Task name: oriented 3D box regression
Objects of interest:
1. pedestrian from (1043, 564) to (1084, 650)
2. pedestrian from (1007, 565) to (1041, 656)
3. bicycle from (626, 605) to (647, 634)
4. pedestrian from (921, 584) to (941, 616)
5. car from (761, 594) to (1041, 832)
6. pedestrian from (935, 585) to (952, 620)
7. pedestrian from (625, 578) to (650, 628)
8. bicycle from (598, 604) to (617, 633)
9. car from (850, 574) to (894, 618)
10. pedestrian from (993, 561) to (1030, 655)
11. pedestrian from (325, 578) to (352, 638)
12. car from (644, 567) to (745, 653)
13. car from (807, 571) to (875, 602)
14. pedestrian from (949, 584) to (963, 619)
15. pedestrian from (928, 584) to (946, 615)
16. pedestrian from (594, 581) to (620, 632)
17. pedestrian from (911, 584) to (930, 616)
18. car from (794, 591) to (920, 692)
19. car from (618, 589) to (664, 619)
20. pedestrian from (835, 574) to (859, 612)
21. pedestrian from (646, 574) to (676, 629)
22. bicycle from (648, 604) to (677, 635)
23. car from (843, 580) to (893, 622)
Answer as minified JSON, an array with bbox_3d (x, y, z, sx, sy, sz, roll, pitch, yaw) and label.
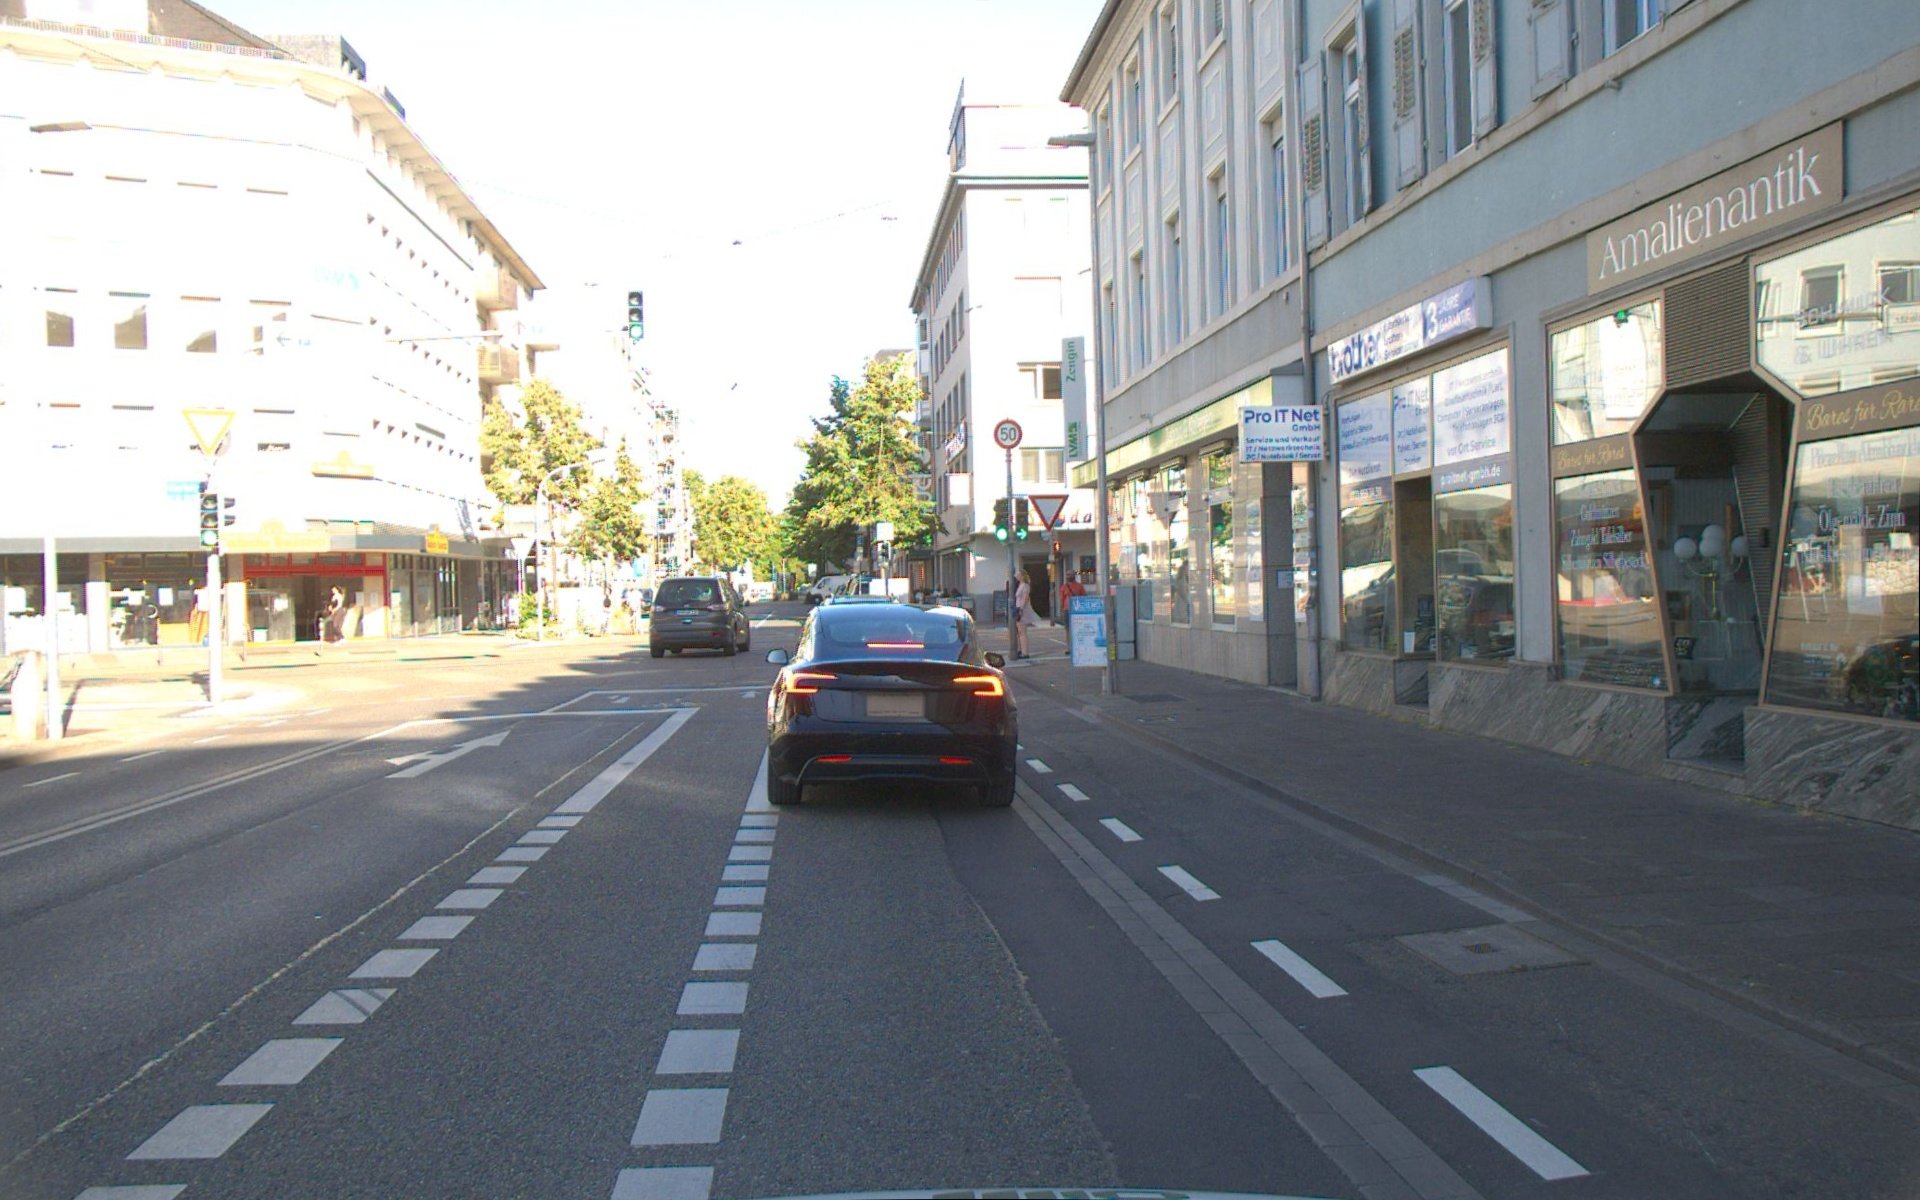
[{"bbox_3d":[2.150,0.134,34.438,0.676,1.732,0.911,-3,1,-4],"label":"pedestrian"},{"bbox_3d":[1.276,0.211,33.028,0.561,1.790,0.649,-1,0,-6],"label":"pedestrian"},{"bbox_3d":[-11.479,0.691,58.682,0.543,0.985,1.786,-2,0,-16],"label":"bicycle"},{"bbox_3d":[-1.303,-0.003,73.665,0.717,1.371,1.058,-2,0,-7],"label":"pedestrian"},{"bbox_3d":[-0.542,0.740,13.206,1.833,1.452,4.361,-2,1,-4],"label":"car"},{"bbox_3d":[-0.634,0.092,64.200,0.575,1.335,0.560,-2,0,-5],"label":"pedestrian"},{"bbox_3d":[-11.461,0.110,58.778,0.766,1.758,0.556,-1,0,-20],"label":"pedestrian"},{"bbox_3d":[-12.347,0.646,57.896,0.473,0.972,1.447,-2,0,-19],"label":"bicycle"},{"bbox_3d":[-4.066,-0.198,76.021,1.867,1.884,4.284,-1,1,-5],"label":"car"},{"bbox_3d":[1.035,0.153,33.509,0.627,1.874,0.681,-2,0,-6],"label":"pedestrian"},{"bbox_3d":[-18.210,0.235,48.469,0.548,1.739,0.711,-2,0,-8],"label":"pedestrian"},{"bbox_3d":[-5.881,0.180,37.032,1.867,1.763,4.284,-1,1,-5],"label":"car"},{"bbox_3d":[-9.457,-1.067,131.000,5.288,2.183,1.997,-2,0,-7],"label":"car"},{"bbox_3d":[-0.161,0.068,65.026,0.477,1.345,0.654,-2,0,2],"label":"pedestrian"},{"bbox_3d":[-1.042,-0.033,74.963,0.716,1.384,0.957,-2,0,-5],"label":"pedestrian"},{"bbox_3d":[-12.295,0.218,57.576,0.779,1.742,0.650,-1,0,-20],"label":"pedestrian"},{"bbox_3d":[-1.792,-0.002,74.733,0.696,1.371,1.058,-2,0,-8],"label":"pedestrian"},{"bbox_3d":[-1.568,0.598,26.412,1.726,1.443,4.354,-1,0,0],"label":"car"},{"bbox_3d":[-17.616,0.199,91.549,1.954,1.626,3.997,-1,0,-4],"label":"car"},{"bbox_3d":[-5.867,-0.358,85.924,0.937,1.949,1.106,-2,0,11],"label":"pedestrian"},{"bbox_3d":[-10.652,0.035,58.954,0.767,1.898,0.996,-4,2,-19],"label":"pedestrian"},{"bbox_3d":[-10.602,0.687,58.927,0.746,1.025,1.717,-5,1,-16],"label":"bicycle"},{"bbox_3d":[-3.903,0.032,69.588,1.962,1.665,4.284,-1,1,-5],"label":"car"}]
